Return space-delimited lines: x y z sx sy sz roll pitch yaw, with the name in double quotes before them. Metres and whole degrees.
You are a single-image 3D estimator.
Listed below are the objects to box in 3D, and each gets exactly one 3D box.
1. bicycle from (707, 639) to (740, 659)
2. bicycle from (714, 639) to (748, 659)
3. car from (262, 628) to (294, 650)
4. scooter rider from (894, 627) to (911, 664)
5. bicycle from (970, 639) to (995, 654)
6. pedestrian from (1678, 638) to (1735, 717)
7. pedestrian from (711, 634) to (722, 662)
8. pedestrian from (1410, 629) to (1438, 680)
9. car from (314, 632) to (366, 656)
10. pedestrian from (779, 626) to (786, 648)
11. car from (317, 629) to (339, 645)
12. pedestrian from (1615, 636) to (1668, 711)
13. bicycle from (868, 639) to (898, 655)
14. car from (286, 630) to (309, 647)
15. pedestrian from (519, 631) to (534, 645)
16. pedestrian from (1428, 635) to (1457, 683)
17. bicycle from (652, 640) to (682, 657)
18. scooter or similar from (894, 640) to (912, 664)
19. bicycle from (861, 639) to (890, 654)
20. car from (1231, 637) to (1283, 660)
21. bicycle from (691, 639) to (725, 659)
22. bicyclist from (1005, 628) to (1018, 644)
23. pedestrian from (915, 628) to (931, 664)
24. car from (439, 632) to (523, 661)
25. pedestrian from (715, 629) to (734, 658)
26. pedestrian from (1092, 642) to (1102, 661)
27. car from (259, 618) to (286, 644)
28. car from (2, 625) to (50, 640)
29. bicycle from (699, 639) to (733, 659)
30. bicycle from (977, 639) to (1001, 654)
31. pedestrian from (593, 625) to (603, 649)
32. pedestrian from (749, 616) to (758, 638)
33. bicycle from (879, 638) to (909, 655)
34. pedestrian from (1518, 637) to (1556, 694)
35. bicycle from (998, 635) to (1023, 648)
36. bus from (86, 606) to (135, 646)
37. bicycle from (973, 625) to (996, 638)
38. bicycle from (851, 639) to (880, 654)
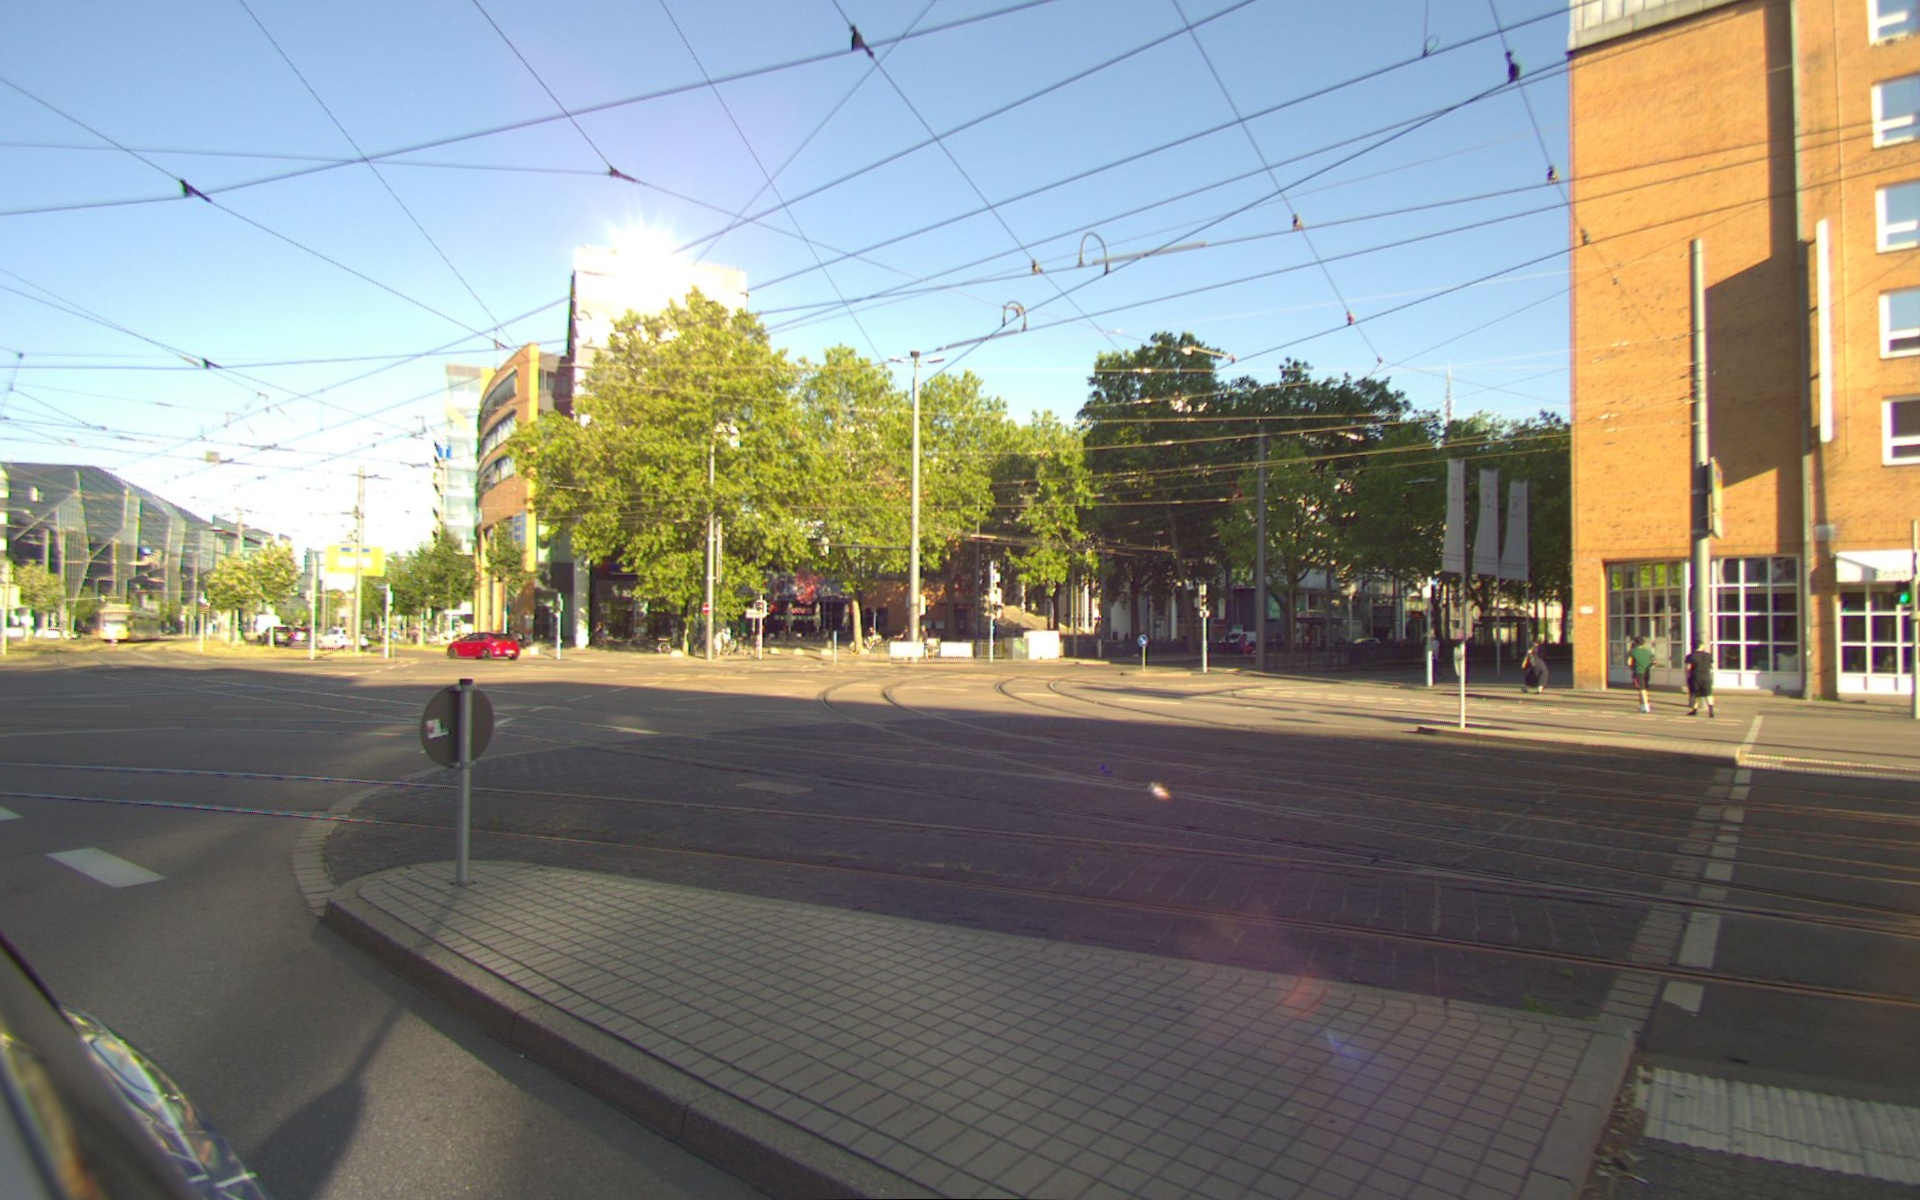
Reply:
"bicycle" -14.129 2.923 60.497 0.776 1.138 1.816 -1 -3 44
"bicycle" -13.554 2.894 59.918 0.776 1.138 1.816 -1 -3 44
"car" -53.623 3.110 79.656 1.591 1.615 4.188 4 -5 -28
"scooter rider" -2.898 2.279 51.079 0.578 1.847 0.766 2 -2 -28
"bicycle" 1.695 3.461 75.518 1.916 1.072 0.579 2 -3 -41
"pedestrian" 16.768 1.730 22.742 0.630 1.731 0.780 1 -2 -23
"pedestrian" -13.396 2.625 55.710 0.477 1.550 0.573 1 -2 -6
"pedestrian" 17.425 2.041 38.026 0.733 1.910 0.650 2 -2 -30
"car" -39.021 2.737 63.630 3.997 1.463 1.614 -2 -3 40
"pedestrian" -13.941 2.919 79.510 0.535 1.682 0.572 1 -2 -12
"car" -66.826 3.966 107.032 1.833 1.645 4.276 2 -3 -30
"pedestrian" 16.008 1.710 23.783 0.630 1.731 0.780 1 -2 -23
"bicycle" -5.258 3.175 69.116 1.916 1.072 0.785 2 -3 -41
"car" -66.686 3.871 101.913 1.834 1.645 4.275 2 -3 -31
"pedestrian" -32.248 2.822 75.344 0.680 1.089 0.767 -1 -3 37
"pedestrian" 17.747 2.165 37.241 0.693 1.756 0.650 2 -3 -30
"bicycle" -17.735 2.929 61.326 1.673 1.044 0.550 2 -3 -41
"scooter or similar" -2.881 2.604 51.087 0.447 1.188 1.164 2 -2 -27
"bicycle" -5.804 3.208 69.757 1.916 1.072 0.785 2 -3 -41
"car" 26.793 4.364 91.097 4.884 1.961 1.977 2 -3 -37
"bicycle" -15.341 2.982 61.639 0.776 1.138 1.816 -1 -3 44
"bicyclist" 4.352 3.072 85.577 0.943 1.355 0.677 1 -2 -15
"pedestrian" -1.873 2.329 51.563 0.661 1.810 0.571 1 -2 -15
"car" -24.214 2.341 51.177 3.976 1.439 1.678 -1 -3 25
"pedestrian" -14.612 2.706 62.887 0.879 1.778 0.732 3 -5 -43
"pedestrian" 7.589 2.832 56.062 0.406 1.040 0.373 -1 -3 42
"car" -69.377 3.139 102.146 1.966 2.499 5.991 2 -3 -32
"car" -114.806 3.984 124.474 1.995 1.874 3.954 -1 -3 34
"bicycle" -14.725 2.952 61.062 0.776 1.138 1.816 -1 -3 44
"bicycle" 2.129 3.428 74.851 1.916 1.072 0.579 2 -3 -41
"pedestrian" -25.928 2.658 72.500 0.585 1.669 0.595 1 -2 -23
"pedestrian" -16.096 2.115 78.758 0.561 1.682 0.545 2 -2 -27
"bicycle" -4.473 3.142 68.480 1.916 1.072 0.785 2 -3 -41
"pedestrian" 16.296 1.838 28.596 0.868 1.565 0.539 -1 -3 37
"bicycle" 4.285 3.494 85.517 1.981 1.075 0.698 1 -2 -14
"bus" -78.781 2.486 93.820 2.686 3.434 9.674 3 -4 -44
"bicycle" 2.114 2.650 86.063 1.982 1.075 0.697 2 -3 -38
"bicycle" -6.598 3.247 70.528 1.916 1.072 0.785 2 -3 -41
